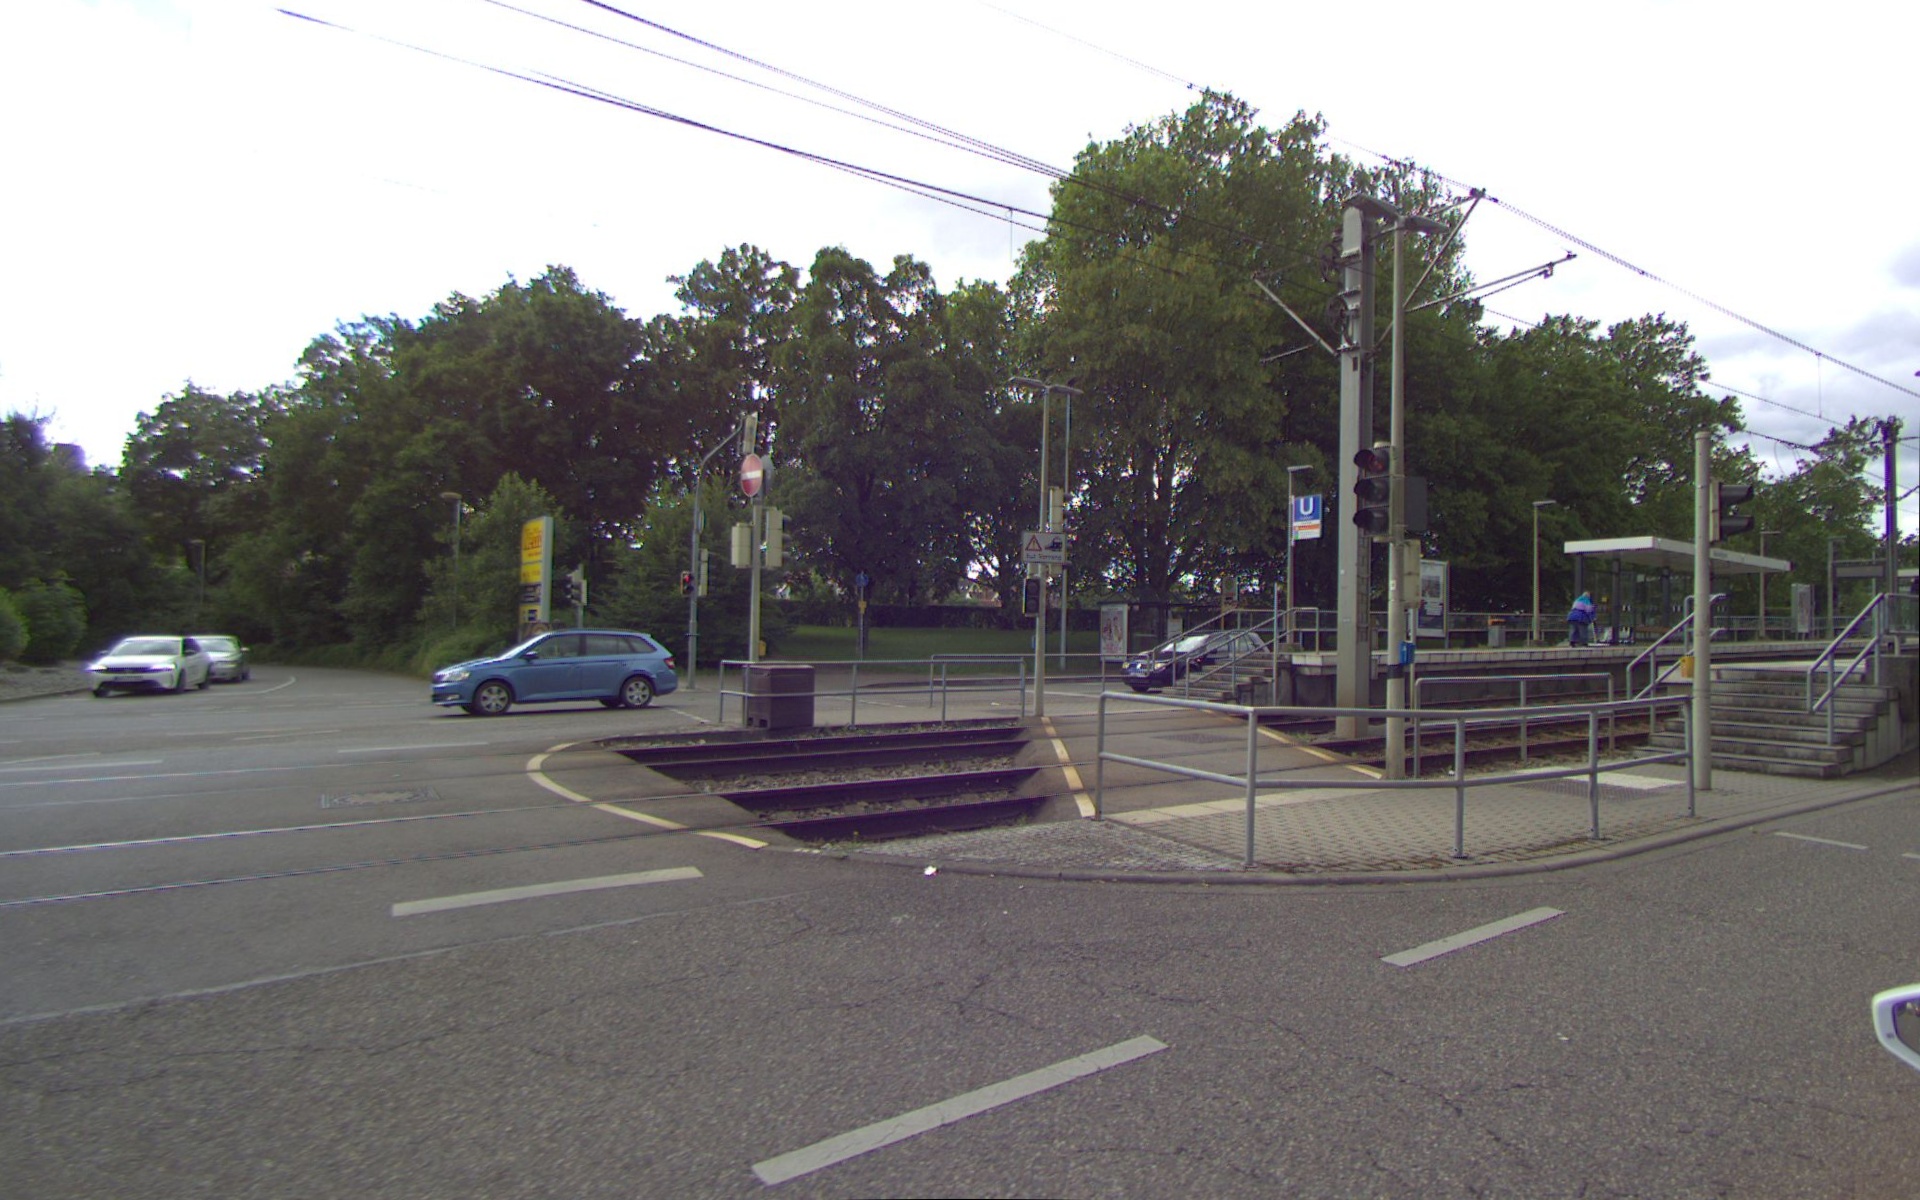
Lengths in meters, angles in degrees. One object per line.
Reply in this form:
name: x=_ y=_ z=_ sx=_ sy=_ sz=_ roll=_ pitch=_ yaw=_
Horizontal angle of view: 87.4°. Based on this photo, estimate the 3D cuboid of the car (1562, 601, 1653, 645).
car: x=27.696 y=1.026 z=42.946 sx=4.355 sy=1.774 sz=1.700 roll=3 pitch=-3 yaw=-34

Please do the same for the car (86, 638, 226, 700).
car: x=-20.377 y=1.705 z=25.634 sx=1.822 sy=1.426 sz=3.869 roll=1 pitch=-3 yaw=-24

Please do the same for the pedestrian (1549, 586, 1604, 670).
pedestrian: x=16.832 y=0.764 z=27.439 sx=0.965 sy=2.215 sz=0.964 roll=1 pitch=-1 yaw=-32

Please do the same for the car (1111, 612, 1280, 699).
car: x=5.651 y=1.296 z=23.971 sx=3.960 sy=1.885 sz=1.686 roll=2 pitch=0 yaw=-35

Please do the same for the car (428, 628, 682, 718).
car: x=-7.279 y=1.286 z=18.230 sx=4.016 sy=1.465 sz=1.584 roll=2 pitch=-4 yaw=-37

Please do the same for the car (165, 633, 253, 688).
car: x=-22.979 y=1.815 z=30.861 sx=1.827 sy=1.572 sz=3.965 roll=2 pitch=-3 yaw=-32
